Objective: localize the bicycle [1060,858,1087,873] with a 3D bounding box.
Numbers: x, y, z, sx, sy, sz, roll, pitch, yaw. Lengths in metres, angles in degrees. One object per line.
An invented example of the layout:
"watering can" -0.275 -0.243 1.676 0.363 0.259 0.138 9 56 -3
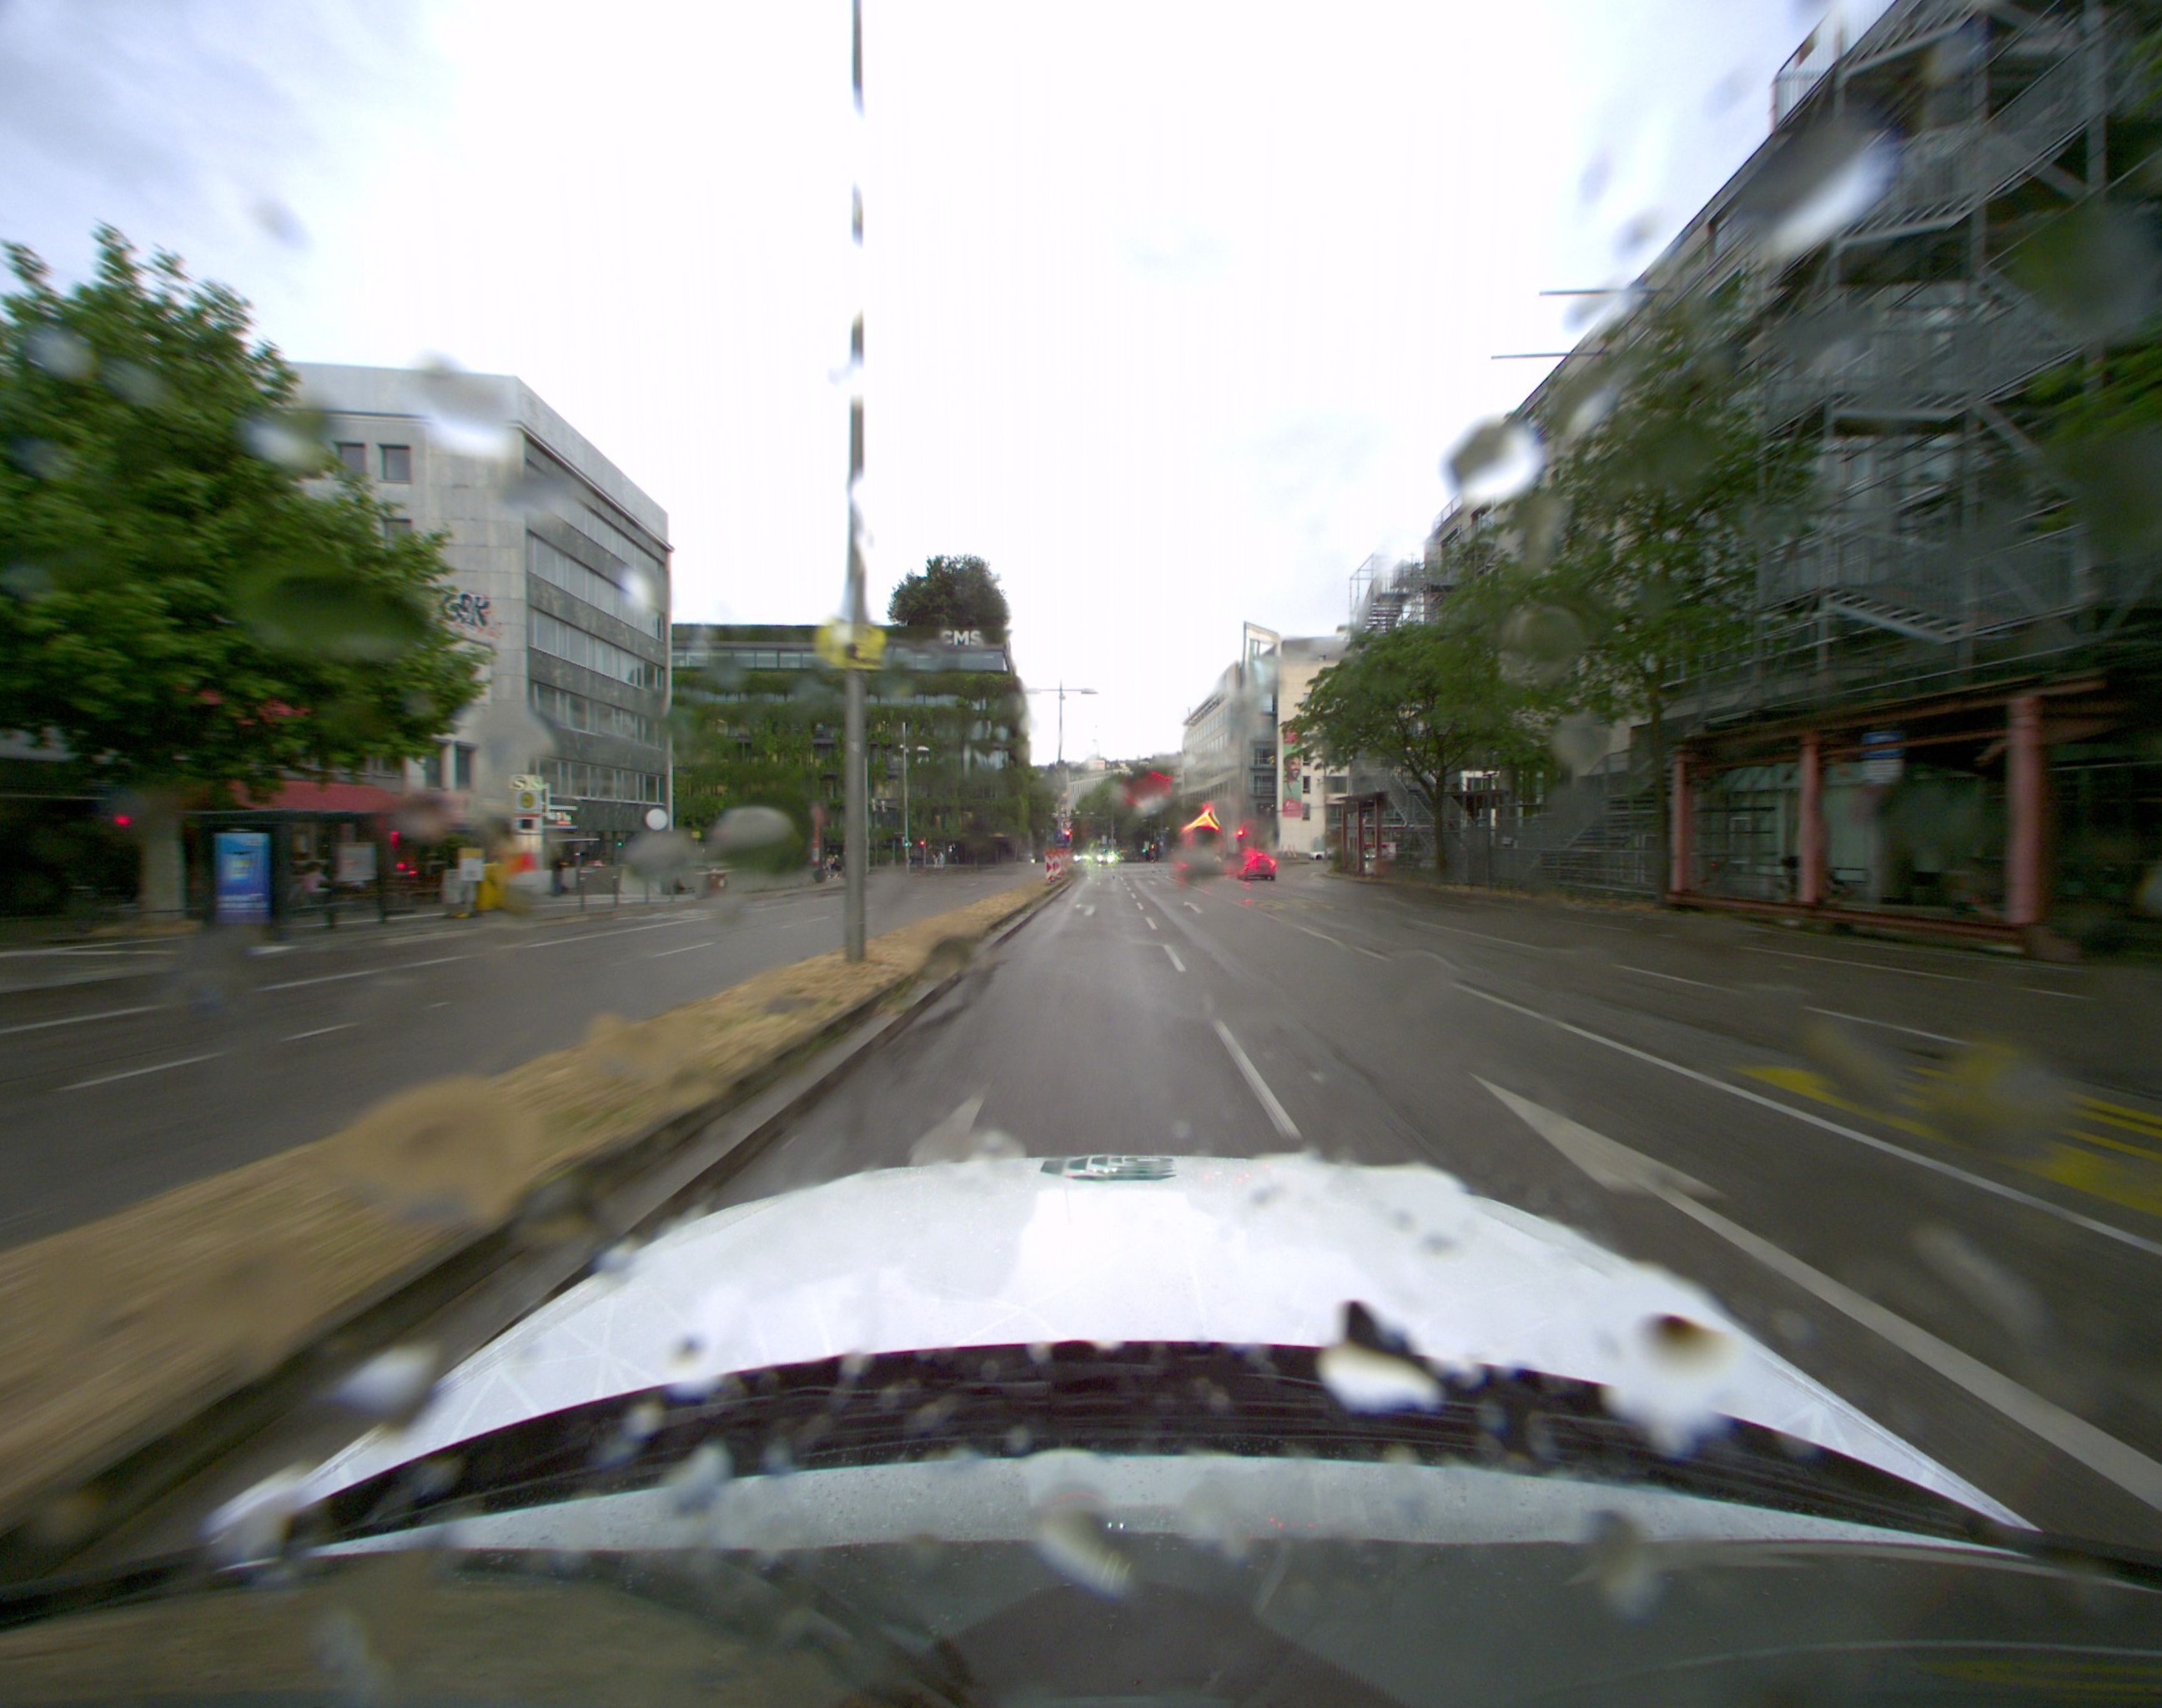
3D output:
"bicycle" -0.545 0.835 60.212 0.837 1.103 2.166 -1 0 41

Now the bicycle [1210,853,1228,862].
"bicycle" 16.998 0.472 100.662 0.798 1.117 2.229 -1 0 -39

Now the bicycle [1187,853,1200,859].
"bicycle" 16.672 0.300 120.653 1.786 0.934 0.476 -1 0 4

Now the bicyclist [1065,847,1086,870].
"bicyclist" -0.425 0.344 60.331 0.837 1.704 1.307 -1 0 42

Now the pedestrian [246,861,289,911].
"pedestrian" -23.804 0.930 23.849 0.687 1.450 0.547 0 0 -3

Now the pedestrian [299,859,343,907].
"pedestrian" -23.811 0.893 25.538 0.725 1.450 0.690 0 0 -5

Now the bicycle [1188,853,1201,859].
"bicycle" 15.876 0.270 113.987 1.778 0.934 0.478 -1 0 43

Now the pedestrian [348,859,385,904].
"pedestrian" -23.609 0.889 26.913 0.632 1.450 0.690 0 0 -5

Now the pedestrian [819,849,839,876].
"pedestrian" -17.893 0.584 57.936 1.019 1.854 0.876 -5 0 -3

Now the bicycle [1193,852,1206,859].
"bicycle" 16.667 0.255 114.609 1.778 0.934 0.478 -1 0 43

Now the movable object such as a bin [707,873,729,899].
"movable object such as a bin" -13.327 1.160 29.905 0.531 0.897 0.680 -2 0 -8

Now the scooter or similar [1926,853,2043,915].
"scooter or similar" 17.898 0.567 16.175 0.629 1.161 1.548 -1 0 2

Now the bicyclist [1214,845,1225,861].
"bicyclist" 17.114 -0.173 100.520 0.798 1.975 1.101 -1 0 -39

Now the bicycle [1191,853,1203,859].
"bicycle" 16.602 0.298 116.323 1.778 0.934 0.478 -1 0 43

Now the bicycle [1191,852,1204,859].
"bicycle" 16.538 0.260 115.579 1.778 0.934 0.478 -1 0 43

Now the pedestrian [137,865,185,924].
"pedestrian" -24.950 1.080 22.091 0.595 1.570 0.603 -1 0 -8

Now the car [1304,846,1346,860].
"car" 29.525 -0.084 98.570 4.455 1.598 1.991 -1 0 -13

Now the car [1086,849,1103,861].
"car" 1.784 0.118 108.466 1.988 1.550 4.552 -1 0 -2

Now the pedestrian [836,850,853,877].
"pedestrian" -17.299 0.693 59.601 0.782 1.885 0.897 -5 0 -1

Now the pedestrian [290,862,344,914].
"pedestrian" -22.010 0.974 23.474 0.687 1.450 0.913 0 0 -3

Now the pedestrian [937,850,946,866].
"pedestrian" -15.432 0.467 89.879 0.744 1.758 0.969 -1 0 -22

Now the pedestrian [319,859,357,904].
"pedestrian" -24.507 0.907 26.861 0.632 1.450 0.690 0 0 -5

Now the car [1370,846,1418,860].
"car" 32.989 -0.108 85.875 4.452 1.464 1.716 -1 0 -11

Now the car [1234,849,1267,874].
"car" 11.285 0.476 54.052 1.690 1.529 4.446 -1 0 17

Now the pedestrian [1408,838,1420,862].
"pedestrian" 25.392 -0.317 62.112 0.673 1.852 1.062 -1 0 27

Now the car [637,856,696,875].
"car" -33.949 0.935 66.733 3.893 1.523 1.864 -1 0 -11

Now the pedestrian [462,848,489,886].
"pedestrian" -23.398 0.504 31.466 0.601 1.450 0.587 0 0 -4

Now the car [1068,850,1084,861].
"car" -0.696 0.222 114.565 1.853 1.448 4.614 -1 1 -4

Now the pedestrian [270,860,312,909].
"pedestrian" -23.759 0.904 24.492 0.687 1.450 0.583 0 0 -1

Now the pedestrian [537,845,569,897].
"pedestrian" -19.388 0.601 29.910 0.687 1.885 0.758 0 0 -3

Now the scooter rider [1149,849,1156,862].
"scooter rider" 10.308 0.198 118.145 0.764 1.774 0.792 -1 0 -16

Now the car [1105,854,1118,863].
"car" 5.313 0.844 143.440 1.988 1.443 4.554 -1 1 -1

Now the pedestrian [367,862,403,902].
"pedestrian" -23.733 0.944 27.775 0.632 1.344 0.690 0 0 -5

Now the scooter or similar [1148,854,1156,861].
"scooter or similar" 10.320 0.576 118.106 0.557 1.007 1.813 -1 0 -17

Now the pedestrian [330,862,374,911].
"pedestrian" -22.069 0.966 24.657 0.687 1.450 0.707 0 0 -3

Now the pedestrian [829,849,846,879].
"pedestrian" -16.097 0.660 53.851 0.804 1.885 0.865 -5 0 -5

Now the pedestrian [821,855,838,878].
"pedestrian" -18.372 0.894 59.454 0.829 1.585 0.922 -5 0 -2

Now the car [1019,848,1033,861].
"car" -8.004 0.062 118.709 1.988 1.895 4.461 -1 0 -2

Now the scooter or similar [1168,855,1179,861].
"scooter or similar" 14.704 0.602 129.589 1.750 0.878 0.486 -1 0 -18

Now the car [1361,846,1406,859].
"car" 33.058 -0.165 89.072 4.455 1.348 1.715 -1 0 -13

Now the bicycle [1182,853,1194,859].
"bicycle" 16.108 0.313 122.517 1.786 0.934 0.476 -1 0 4

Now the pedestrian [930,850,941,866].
"pedestrian" -15.979 0.425 89.653 0.939 1.758 1.163 -1 0 -22

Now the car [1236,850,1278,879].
"car" 10.100 0.564 46.966 1.770 1.540 4.151 -1 0 4

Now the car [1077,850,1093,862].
"car" 0.608 0.351 132.548 2.171 1.823 4.637 -1 0 -4
